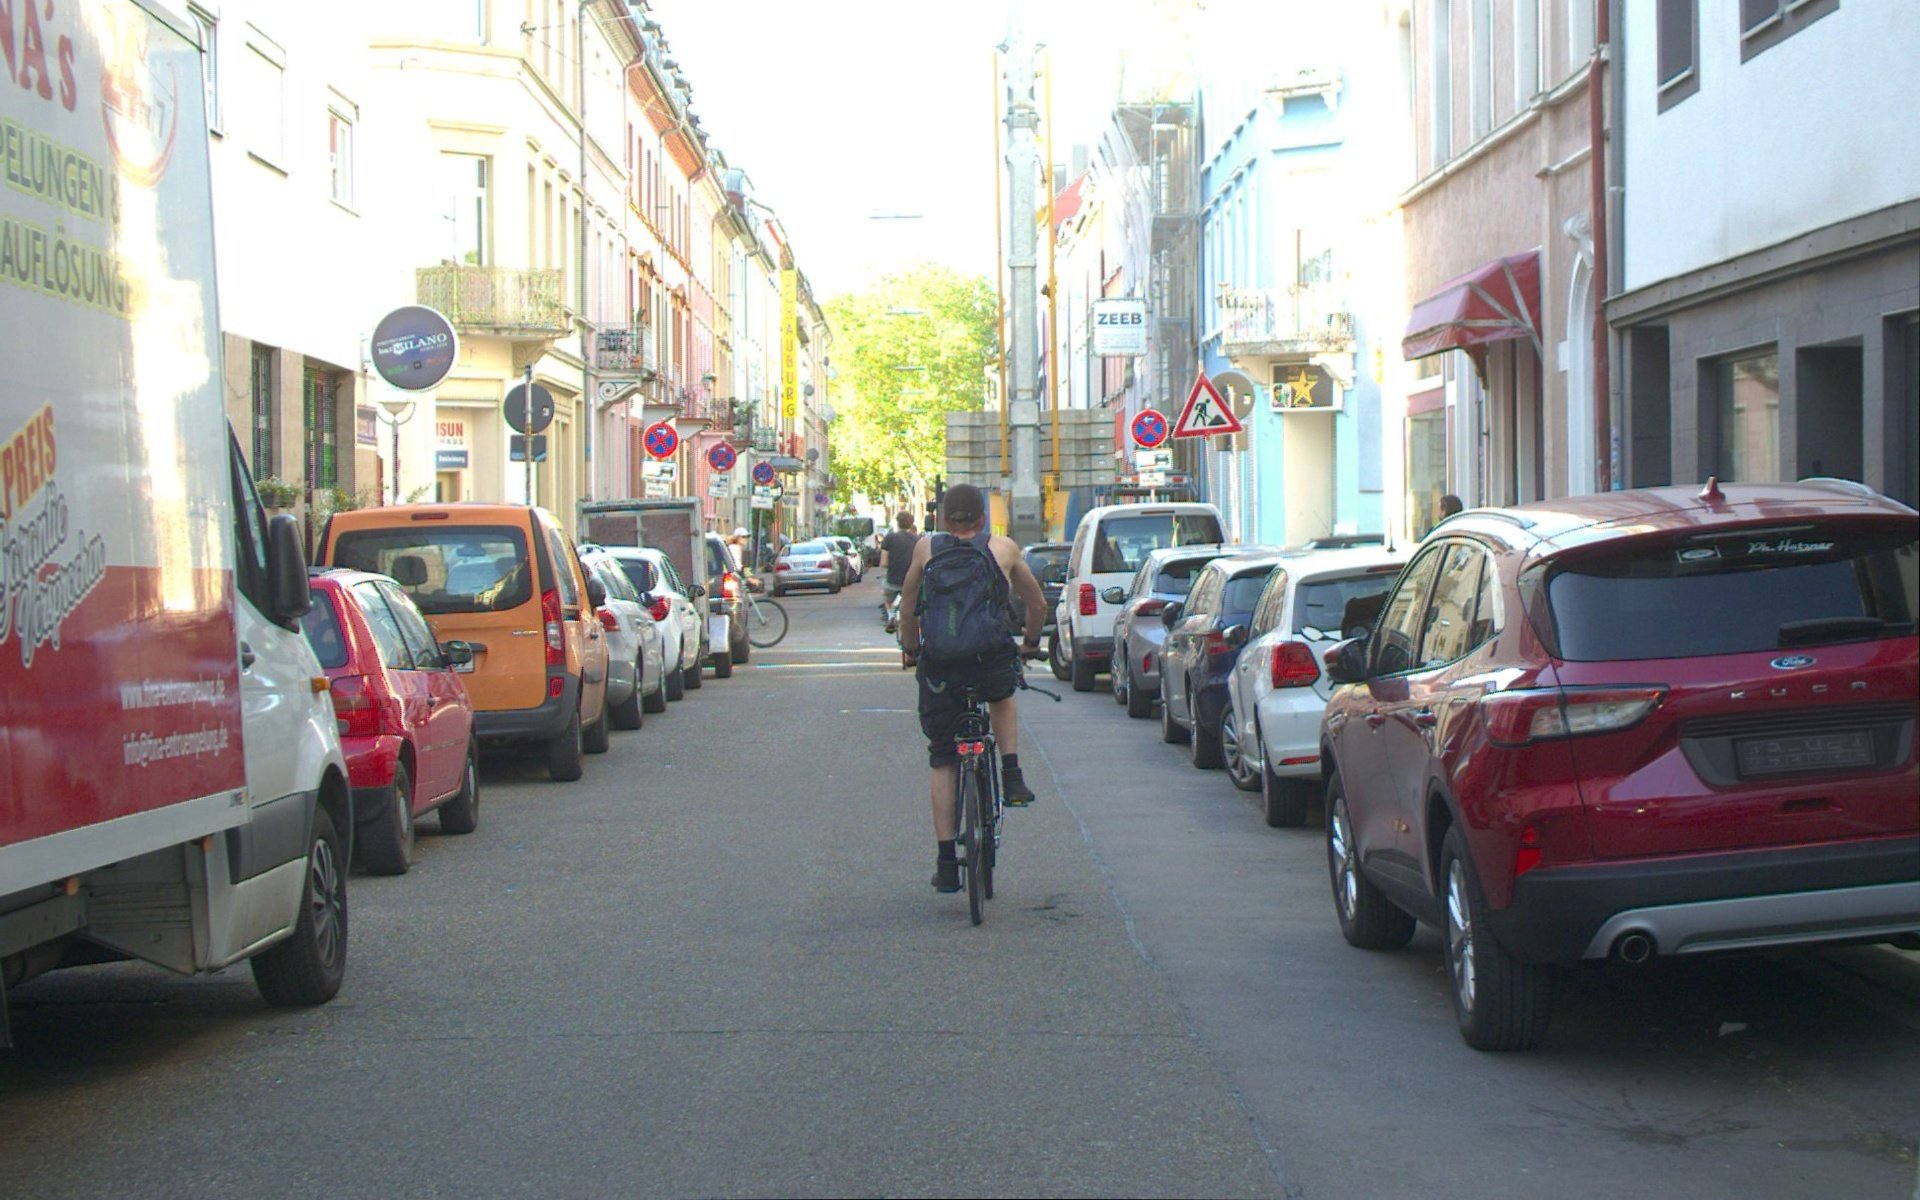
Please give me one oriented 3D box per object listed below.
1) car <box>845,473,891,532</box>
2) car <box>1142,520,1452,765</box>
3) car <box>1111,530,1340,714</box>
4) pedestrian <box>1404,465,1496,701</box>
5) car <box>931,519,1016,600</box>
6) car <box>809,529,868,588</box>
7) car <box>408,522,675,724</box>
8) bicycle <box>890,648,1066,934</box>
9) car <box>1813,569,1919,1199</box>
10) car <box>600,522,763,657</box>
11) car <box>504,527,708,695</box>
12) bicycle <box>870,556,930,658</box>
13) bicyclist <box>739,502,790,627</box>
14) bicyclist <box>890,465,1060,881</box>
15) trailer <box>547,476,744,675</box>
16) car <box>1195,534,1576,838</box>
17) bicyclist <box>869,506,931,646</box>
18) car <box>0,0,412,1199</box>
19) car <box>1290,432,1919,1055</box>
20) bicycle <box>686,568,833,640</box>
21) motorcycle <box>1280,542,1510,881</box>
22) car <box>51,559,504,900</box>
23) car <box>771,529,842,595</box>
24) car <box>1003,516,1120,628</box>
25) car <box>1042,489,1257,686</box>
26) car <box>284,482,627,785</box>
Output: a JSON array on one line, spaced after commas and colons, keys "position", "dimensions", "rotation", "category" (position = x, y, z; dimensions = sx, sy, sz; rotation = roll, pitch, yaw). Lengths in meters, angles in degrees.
[{"position": [-3.720, -3.926, 139.182], "dimensions": [1.750, 2.310, 3.796], "rotation": [-1, 1, -1], "category": "car"}, {"position": [2.295, 0.254, 24.286], "dimensions": [1.646, 1.470, 3.971], "rotation": [-4, 1, -1], "category": "car"}, {"position": [2.278, 0.158, 30.324], "dimensions": [1.750, 1.481, 3.800], "rotation": [-1, 1, 1], "category": "car"}, {"position": [4.225, -0.147, 29.701], "dimensions": [0.644, 2.007, 0.764], "rotation": [1, 0, -1], "category": "pedestrian"}, {"position": [0.252, -0.818, 69.086], "dimensions": [1.611, 1.555, 3.610], "rotation": [1, 1, -1], "category": "car"}, {"position": [-3.856, -1.317, 109.273], "dimensions": [1.750, 1.815, 3.796], "rotation": [-1, 1, -1], "category": "car"}, {"position": [-3.433, 0.154, 28.925], "dimensions": [1.750, 1.532, 4.319], "rotation": [-1, 1, -1], "category": "car"}, {"position": [0.052, 0.767, 14.514], "dimensions": [0.677, 1.071, 1.942], "rotation": [1, 1, -1], "category": "bicycle"}, {"position": [2.323, 0.714, 3.688], "dimensions": [1.686, 1.538, 4.046], "rotation": [-2, 1, -1], "category": "car"}, {"position": [-3.424, -0.149, 42.889], "dimensions": [1.750, 1.567, 3.796], "rotation": [-1, 1, -1], "category": "car"}, {"position": [-3.442, 0.080, 33.952], "dimensions": [1.653, 1.532, 3.634], "rotation": [-1, 1, -1], "category": "car"}, {"position": [-0.680, 0.064, 39.139], "dimensions": [0.648, 1.125, 2.136], "rotation": [1, 1, -1], "category": "bicycle"}, {"position": [-2.697, -0.491, 47.426], "dimensions": [0.681, 1.700, 0.381], "rotation": [1, 0, -3], "category": "bicyclist"}, {"position": [0.050, 0.290, 14.442], "dimensions": [0.667, 1.671, 1.097], "rotation": [1, 1, -1], "category": "bicyclist"}, {"position": [-3.477, -0.286, 38.572], "dimensions": [1.882, 2.085, 3.737], "rotation": [-1, 1, -1], "category": "trailer"}, {"position": [2.349, 0.425, 19.830], "dimensions": [1.667, 1.500, 3.816], "rotation": [-3, 1, 0], "category": "car"}, {"position": [-0.685, -0.275, 39.098], "dimensions": [0.671, 1.562, 0.716], "rotation": [1, 0, -1], "category": "bicyclist"}, {"position": [-3.248, -0.225, 9.069], "dimensions": [2.343, 3.280, 7.154], "rotation": [-2, 1, 0], "category": "car"}, {"position": [2.335, 0.344, 11.676], "dimensions": [1.918, 1.700, 4.366], "rotation": [-1, 1, -1], "category": "car"}, {"position": [-2.766, 0.051, 47.407], "dimensions": [1.995, 0.955, 0.478], "rotation": [1, 0, -3], "category": "bicycle"}, {"position": [2.027, 0.476, 16.336], "dimensions": [0.747, 1.485, 2.422], "rotation": [1, 1, 0], "category": "motorcycle"}, {"position": [-3.360, 0.571, 17.518], "dimensions": [1.578, 1.478, 3.565], "rotation": [-3, 1, -1], "category": "car"}, {"position": [-4.092, -1.020, 91.890], "dimensions": [1.750, 1.678, 3.796], "rotation": [-1, 1, -1], "category": "car"}, {"position": [1.526, -0.432, 52.694], "dimensions": [1.611, 1.628, 3.610], "rotation": [1, 1, -1], "category": "car"}, {"position": [1.888, -0.145, 35.383], "dimensions": [1.750, 1.872, 3.973], "rotation": [-1, 1, -3], "category": "car"}, {"position": [-3.322, 0.183, 23.342], "dimensions": [1.752, 1.810, 4.078], "rotation": [-2, 1, -1], "category": "car"}]
